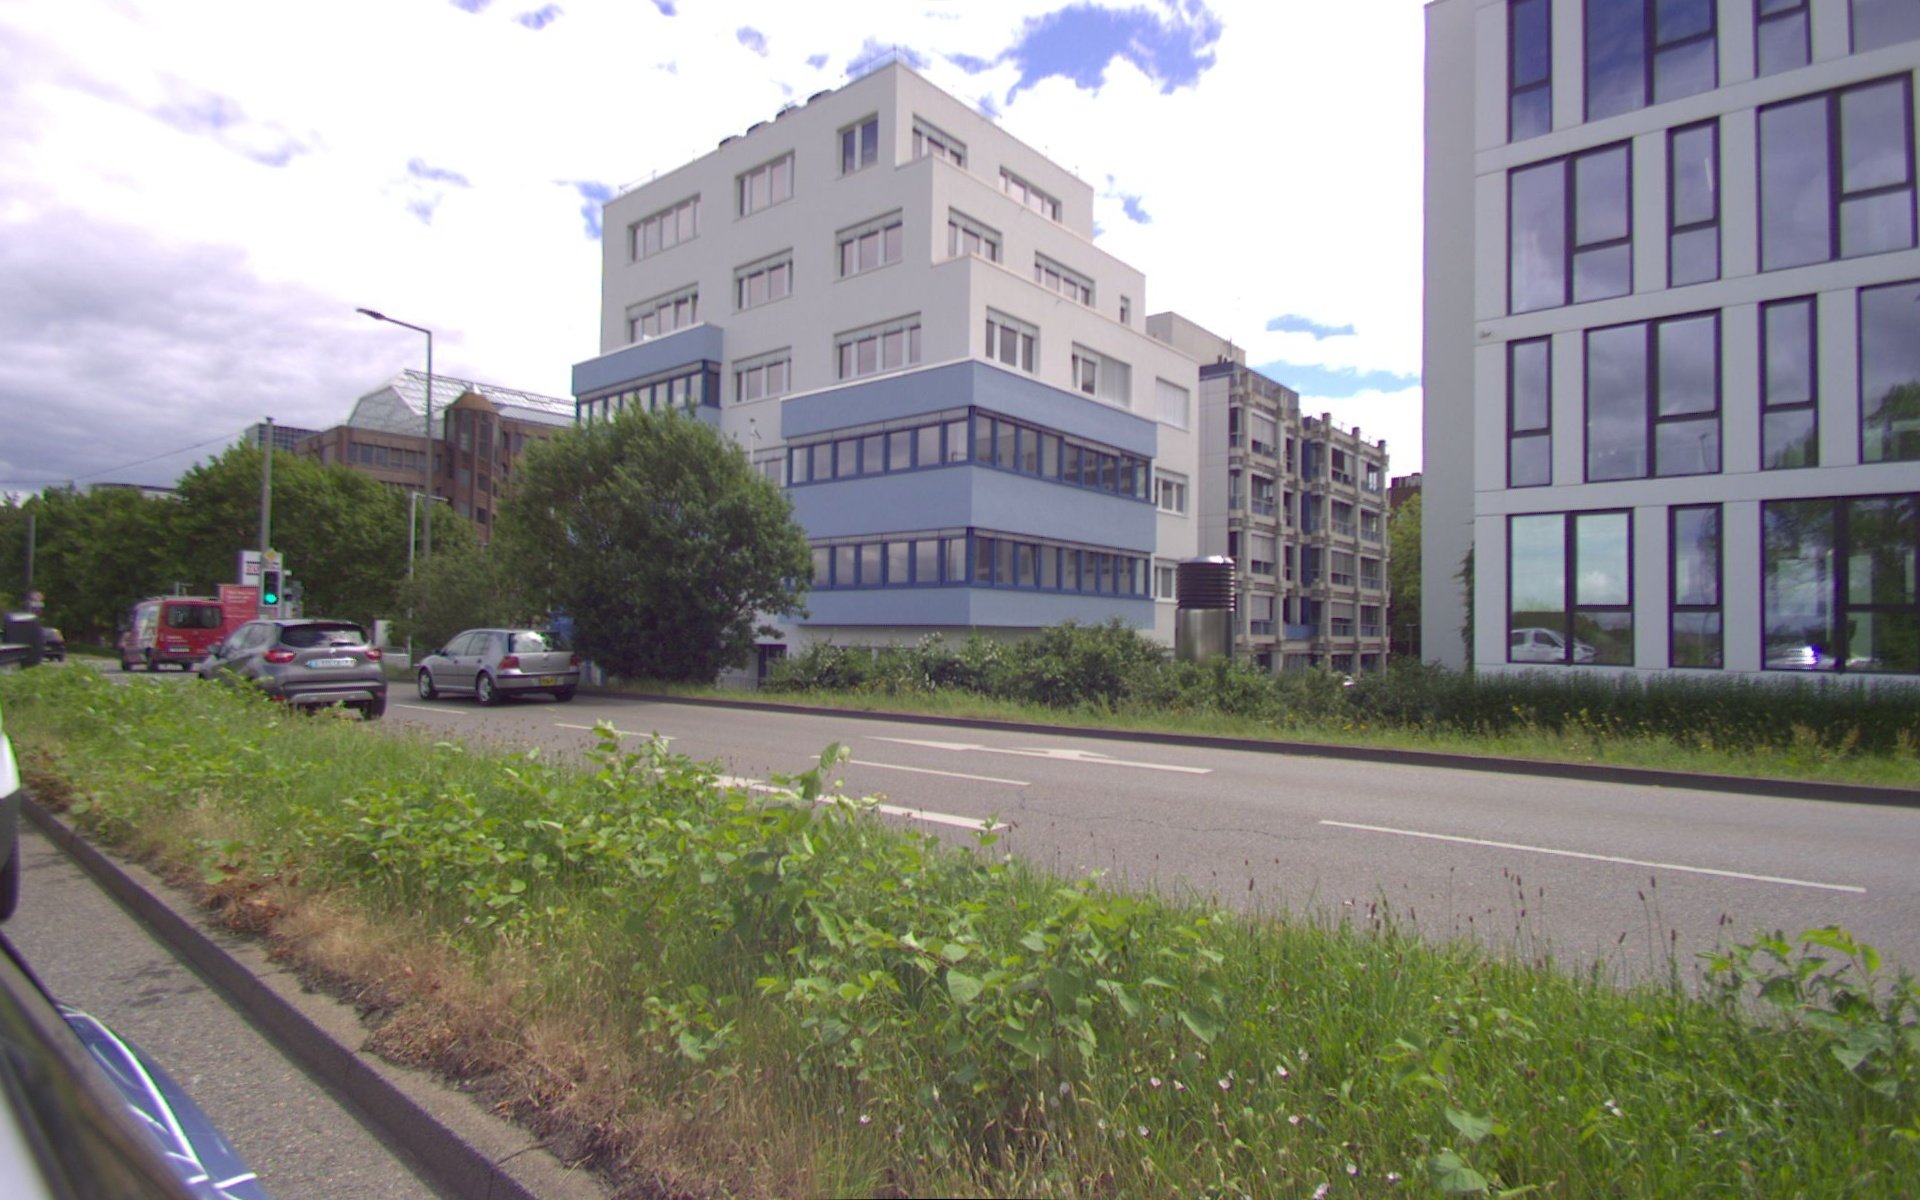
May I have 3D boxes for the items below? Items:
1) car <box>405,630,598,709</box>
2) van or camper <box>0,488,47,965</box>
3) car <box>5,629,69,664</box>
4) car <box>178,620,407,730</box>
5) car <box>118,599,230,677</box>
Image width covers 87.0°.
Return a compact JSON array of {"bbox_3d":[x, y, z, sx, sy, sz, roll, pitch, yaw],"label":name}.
[{"bbox_3d":[-9.032,1.289,19.824,3.998,1.364,1.973,-2,-2,41],"label":"car"},{"bbox_3d":[-6.894,0.562,5.426,5.791,2.029,1.974,-1,-3,38],"label":"van or camper"},{"bbox_3d":[-41.614,2.047,45.613,3.998,1.494,1.661,-2,-2,41],"label":"car"},{"bbox_3d":[-10.696,1.105,16.135,3.995,1.528,1.916,-2,-2,39],"label":"car"},{"bbox_3d":[-26.650,1.257,34.264,5.237,2.430,1.973,-1,-2,41],"label":"car"}]
